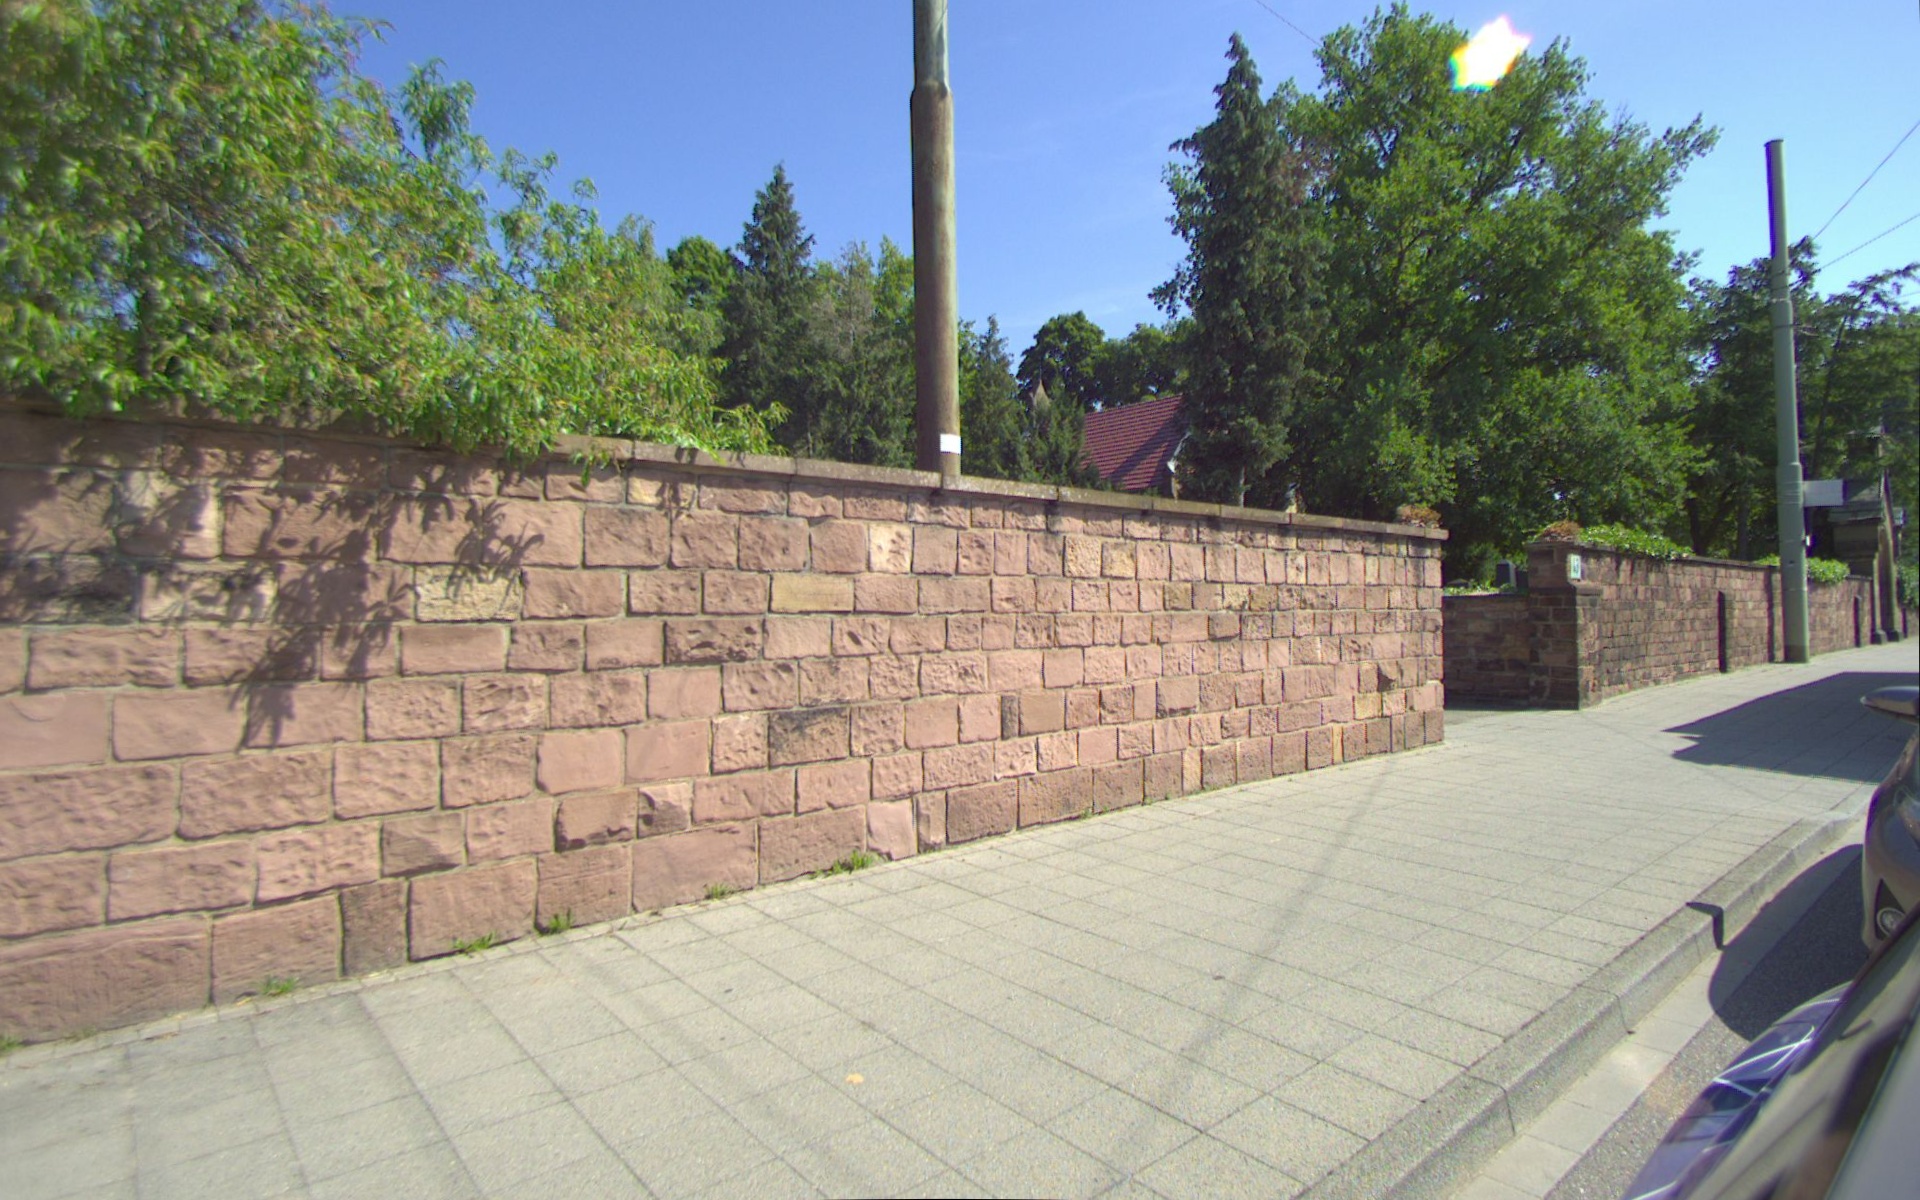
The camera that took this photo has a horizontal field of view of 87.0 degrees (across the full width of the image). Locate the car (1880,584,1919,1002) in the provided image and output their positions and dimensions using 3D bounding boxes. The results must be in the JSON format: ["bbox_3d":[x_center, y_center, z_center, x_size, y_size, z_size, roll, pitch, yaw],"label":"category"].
[{"bbox_3d":[5.164,0.646,4.133,3.930,1.400,1.653,0,1,-41],"label":"car"}]
